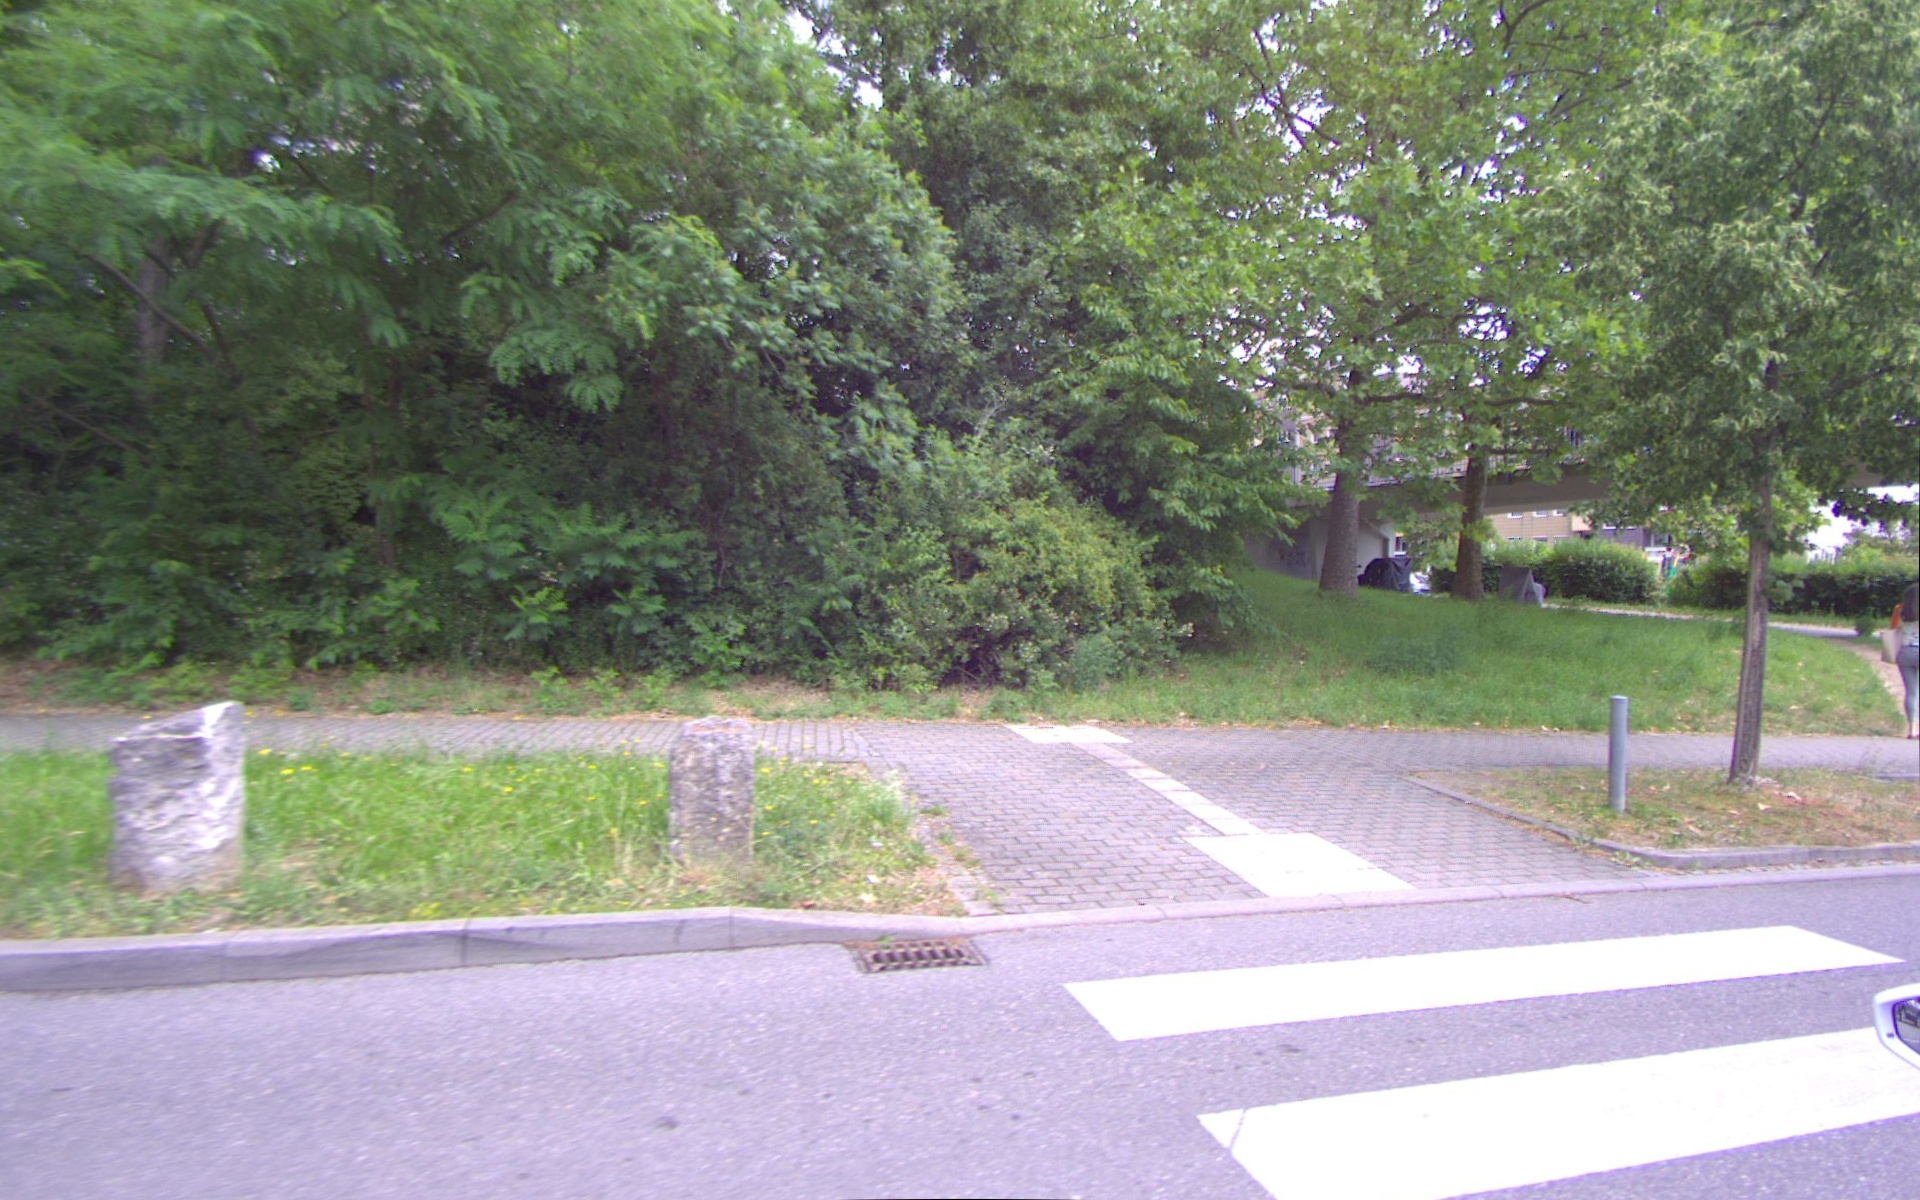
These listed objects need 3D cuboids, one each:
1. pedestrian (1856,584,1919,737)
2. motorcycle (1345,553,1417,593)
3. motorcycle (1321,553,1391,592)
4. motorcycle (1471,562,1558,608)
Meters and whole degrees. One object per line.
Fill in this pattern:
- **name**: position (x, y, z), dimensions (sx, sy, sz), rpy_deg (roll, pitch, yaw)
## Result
- **pedestrian**: position (11.187, 0.694, 11.858), dimensions (0.726, 1.745, 0.658), rpy_deg (3, 2, 32)
- **motorcycle**: position (14.287, -0.923, 34.094), dimensions (2.282, 1.287, 0.881), rpy_deg (1, 2, -22)
- **motorcycle**: position (13.837, -0.964, 35.083), dimensions (2.282, 1.287, 0.881), rpy_deg (1, 2, -22)
- **motorcycle**: position (16.100, -0.441, 29.215), dimensions (2.006, 1.287, 0.886), rpy_deg (1, 2, 0)
